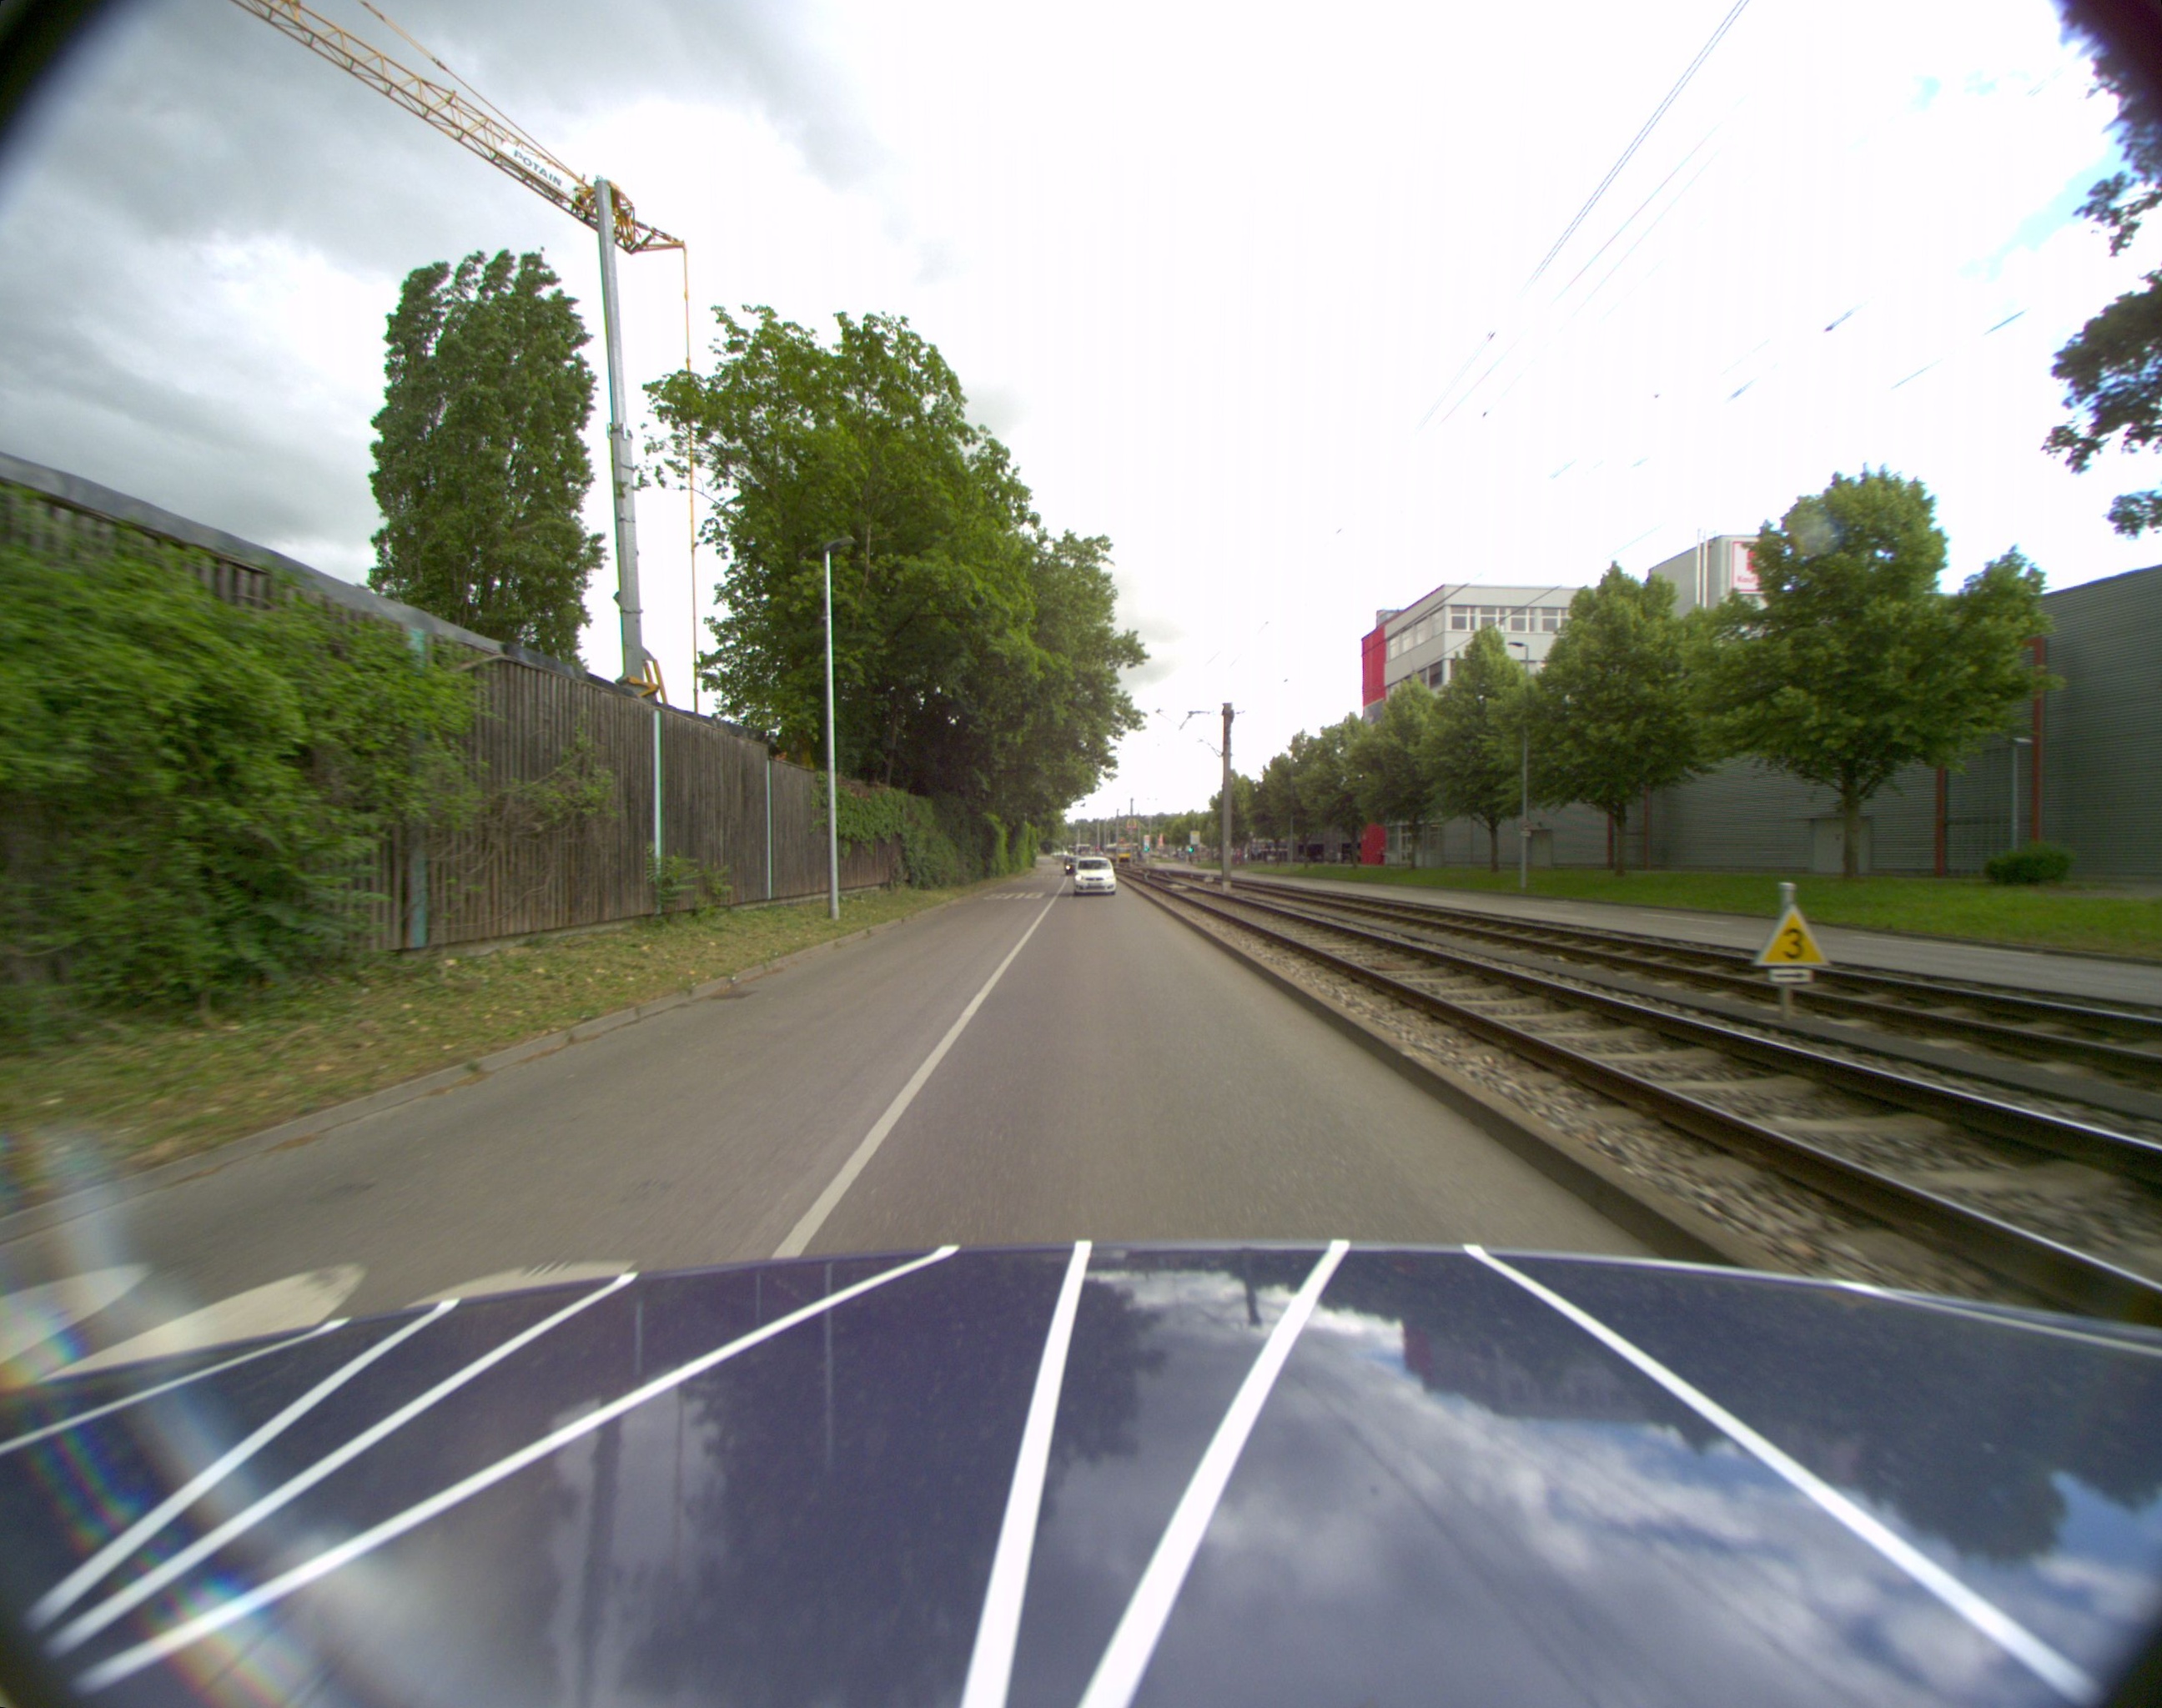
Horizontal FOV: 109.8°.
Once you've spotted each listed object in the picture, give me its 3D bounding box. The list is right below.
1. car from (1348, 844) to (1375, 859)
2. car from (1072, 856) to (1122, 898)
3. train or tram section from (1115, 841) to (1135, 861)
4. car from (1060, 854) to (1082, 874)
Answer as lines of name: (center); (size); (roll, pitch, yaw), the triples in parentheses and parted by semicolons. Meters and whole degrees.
car: (39.539, -0.306, 107.027); (1.999, 2.002, 4.404); (-1, 0, -3)
car: (0.583, 0.847, 29.774); (1.765, 1.469, 4.030); (-2, 0, 0)
train or tram section: (8.452, -0.526, 147.742); (2.778, 3.753, 13.784); (-1, 0, -1)
car: (-0.845, 0.798, 63.380); (1.714, 1.586, 4.000); (-1, 0, 1)
